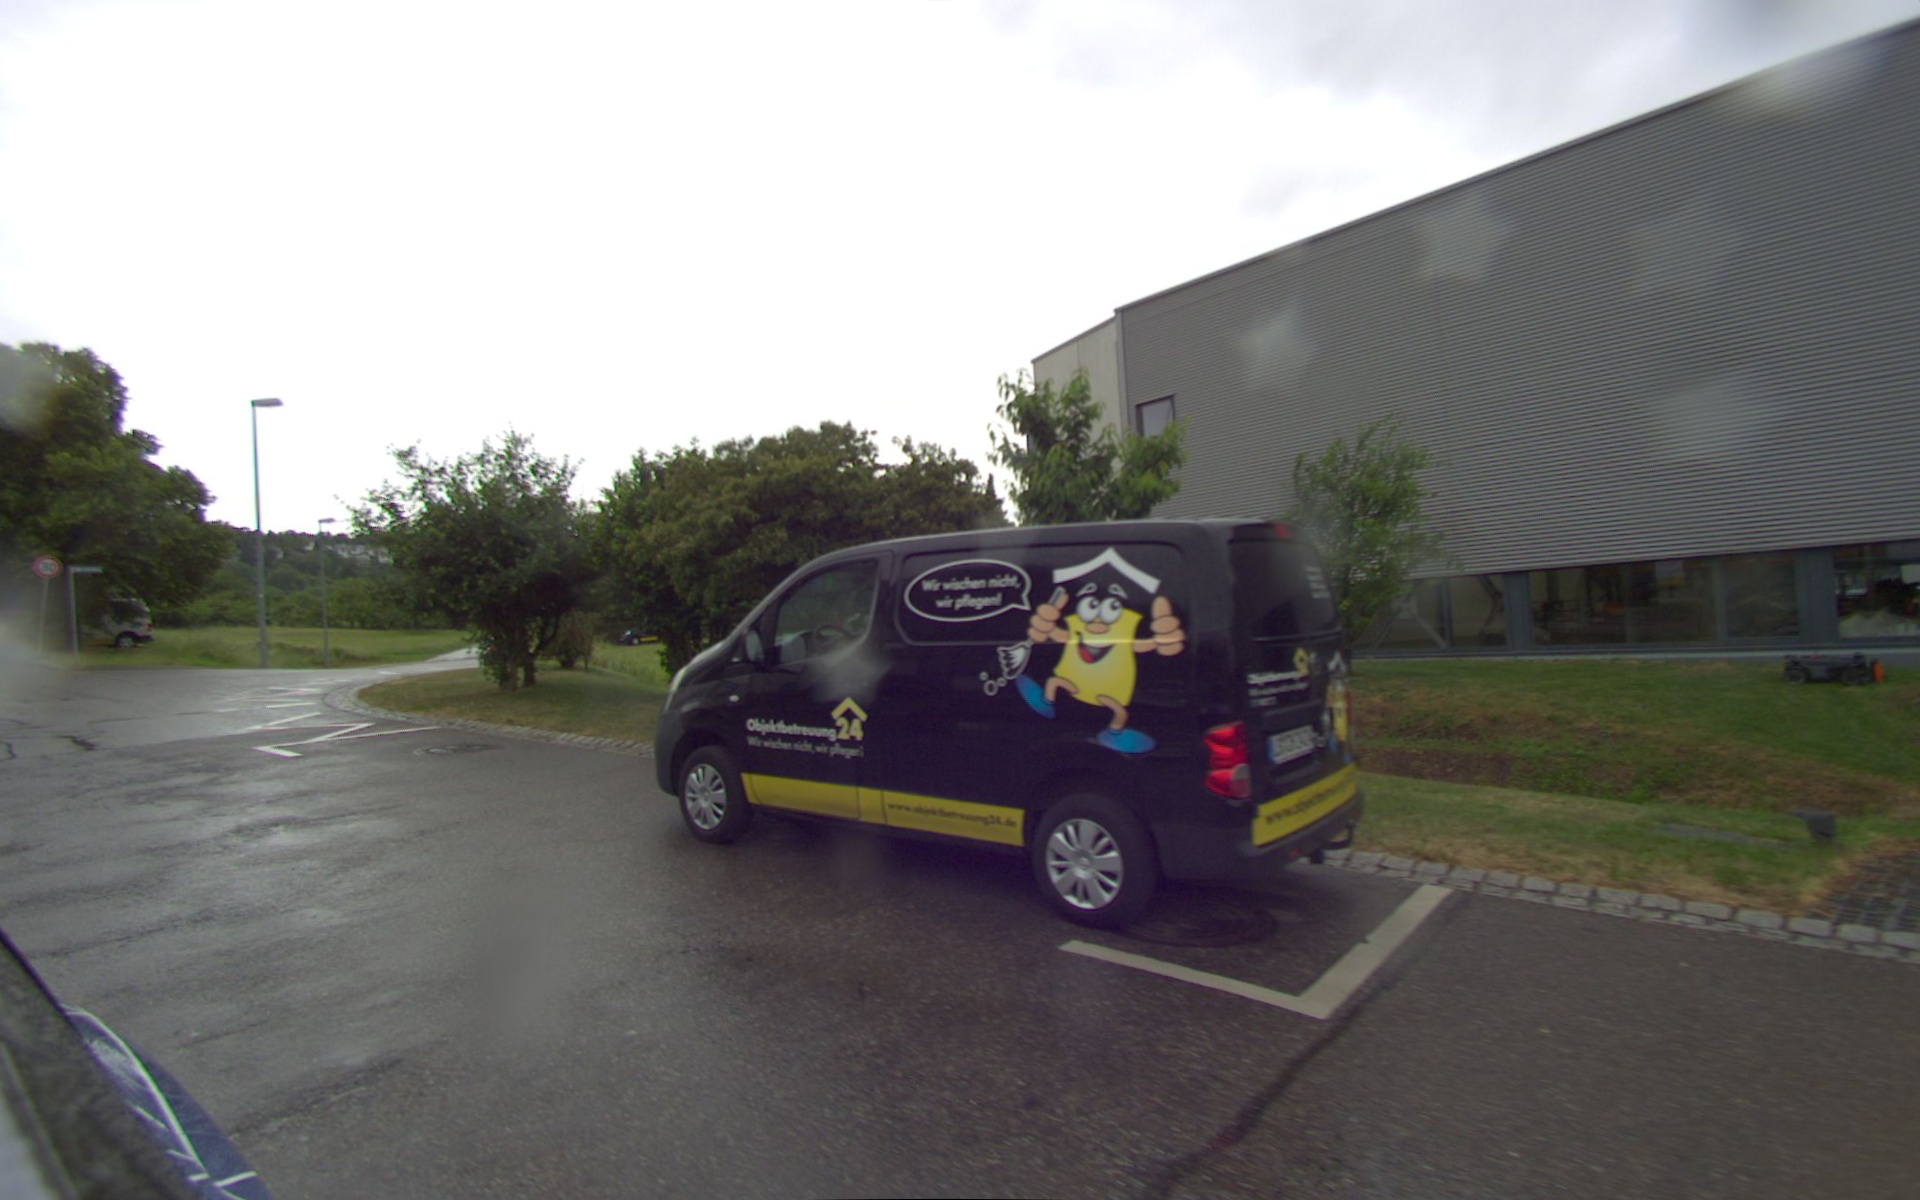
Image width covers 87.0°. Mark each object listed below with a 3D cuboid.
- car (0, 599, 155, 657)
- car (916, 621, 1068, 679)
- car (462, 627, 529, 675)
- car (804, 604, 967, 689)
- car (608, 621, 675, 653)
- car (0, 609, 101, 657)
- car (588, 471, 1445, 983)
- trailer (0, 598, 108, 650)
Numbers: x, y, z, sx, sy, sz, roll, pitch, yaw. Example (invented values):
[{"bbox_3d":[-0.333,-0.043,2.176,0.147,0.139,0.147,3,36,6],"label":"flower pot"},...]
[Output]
[{"bbox_3d":[-31.039,0.945,35.374,1.861,1.920,4.256,0,-1,41],"label":"car"},{"bbox_3d":[0.731,1.287,27.066,1.965,1.407,4.705,1,-2,-28],"label":"car"},{"bbox_3d":[-19.635,2.175,42.650,1.966,1.767,4.395,0,-5,-33],"label":"car"},{"bbox_3d":[-2.118,1.246,26.707,2.099,1.936,5.627,-1,-3,-28],"label":"car"},{"bbox_3d":[-23.601,2.753,75.040,4.427,2.237,1.935,2,-3,-33],"label":"car"},{"bbox_3d":[-35.179,1.209,37.961,1.749,1.735,4.163,0,-1,32],"label":"car"},{"bbox_3d":[-0.010,0.481,5.937,4.843,1.845,1.896,-1,0,39],"label":"car"},{"bbox_3d":[-37.091,0.939,40.567,1.770,1.999,4.176,0,-1,35],"label":"trailer"}]
